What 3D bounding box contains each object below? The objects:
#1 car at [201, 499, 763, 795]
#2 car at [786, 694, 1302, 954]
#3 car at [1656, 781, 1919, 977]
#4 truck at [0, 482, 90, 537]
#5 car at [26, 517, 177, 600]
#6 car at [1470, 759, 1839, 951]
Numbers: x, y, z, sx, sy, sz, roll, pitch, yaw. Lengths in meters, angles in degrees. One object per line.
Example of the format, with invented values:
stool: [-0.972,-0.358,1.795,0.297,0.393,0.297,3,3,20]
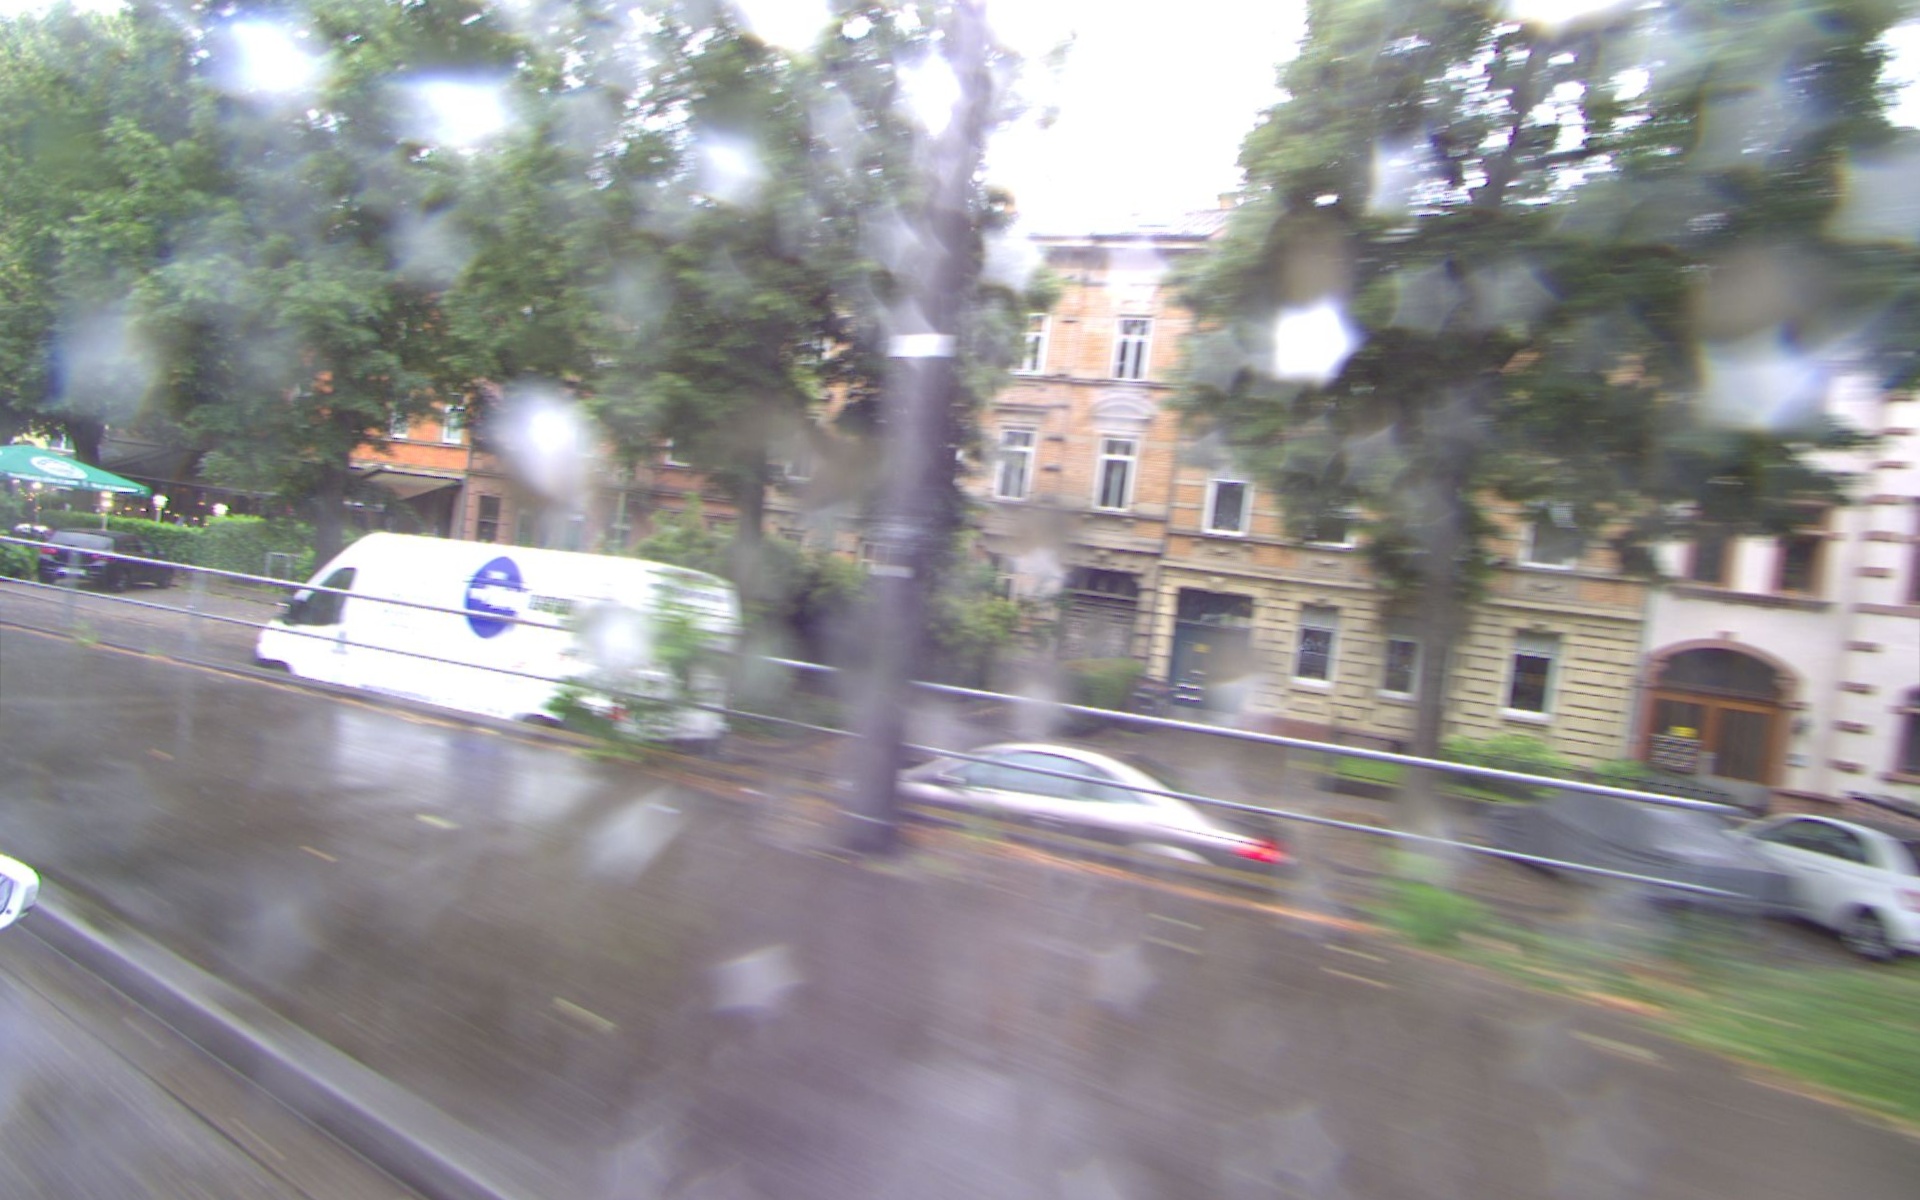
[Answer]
car: [-5.656,0.446,11.895,6.045,2.447,2.218,7,-2,21]
car: [0.835,1.870,9.348,4.303,1.368,1.975,7,-3,20]
car: [11.411,3.535,13.154,1.628,1.522,4.000,6,-1,-1]
truck: [-44.457,-4.425,46.616,2.076,2.036,5.762,7,-2,28]
car: [-22.251,-1.042,26.280,1.977,1.733,3.974,8,-2,-27]
car: [8.910,3.217,13.459,1.661,1.397,4.261,6,-1,-4]
